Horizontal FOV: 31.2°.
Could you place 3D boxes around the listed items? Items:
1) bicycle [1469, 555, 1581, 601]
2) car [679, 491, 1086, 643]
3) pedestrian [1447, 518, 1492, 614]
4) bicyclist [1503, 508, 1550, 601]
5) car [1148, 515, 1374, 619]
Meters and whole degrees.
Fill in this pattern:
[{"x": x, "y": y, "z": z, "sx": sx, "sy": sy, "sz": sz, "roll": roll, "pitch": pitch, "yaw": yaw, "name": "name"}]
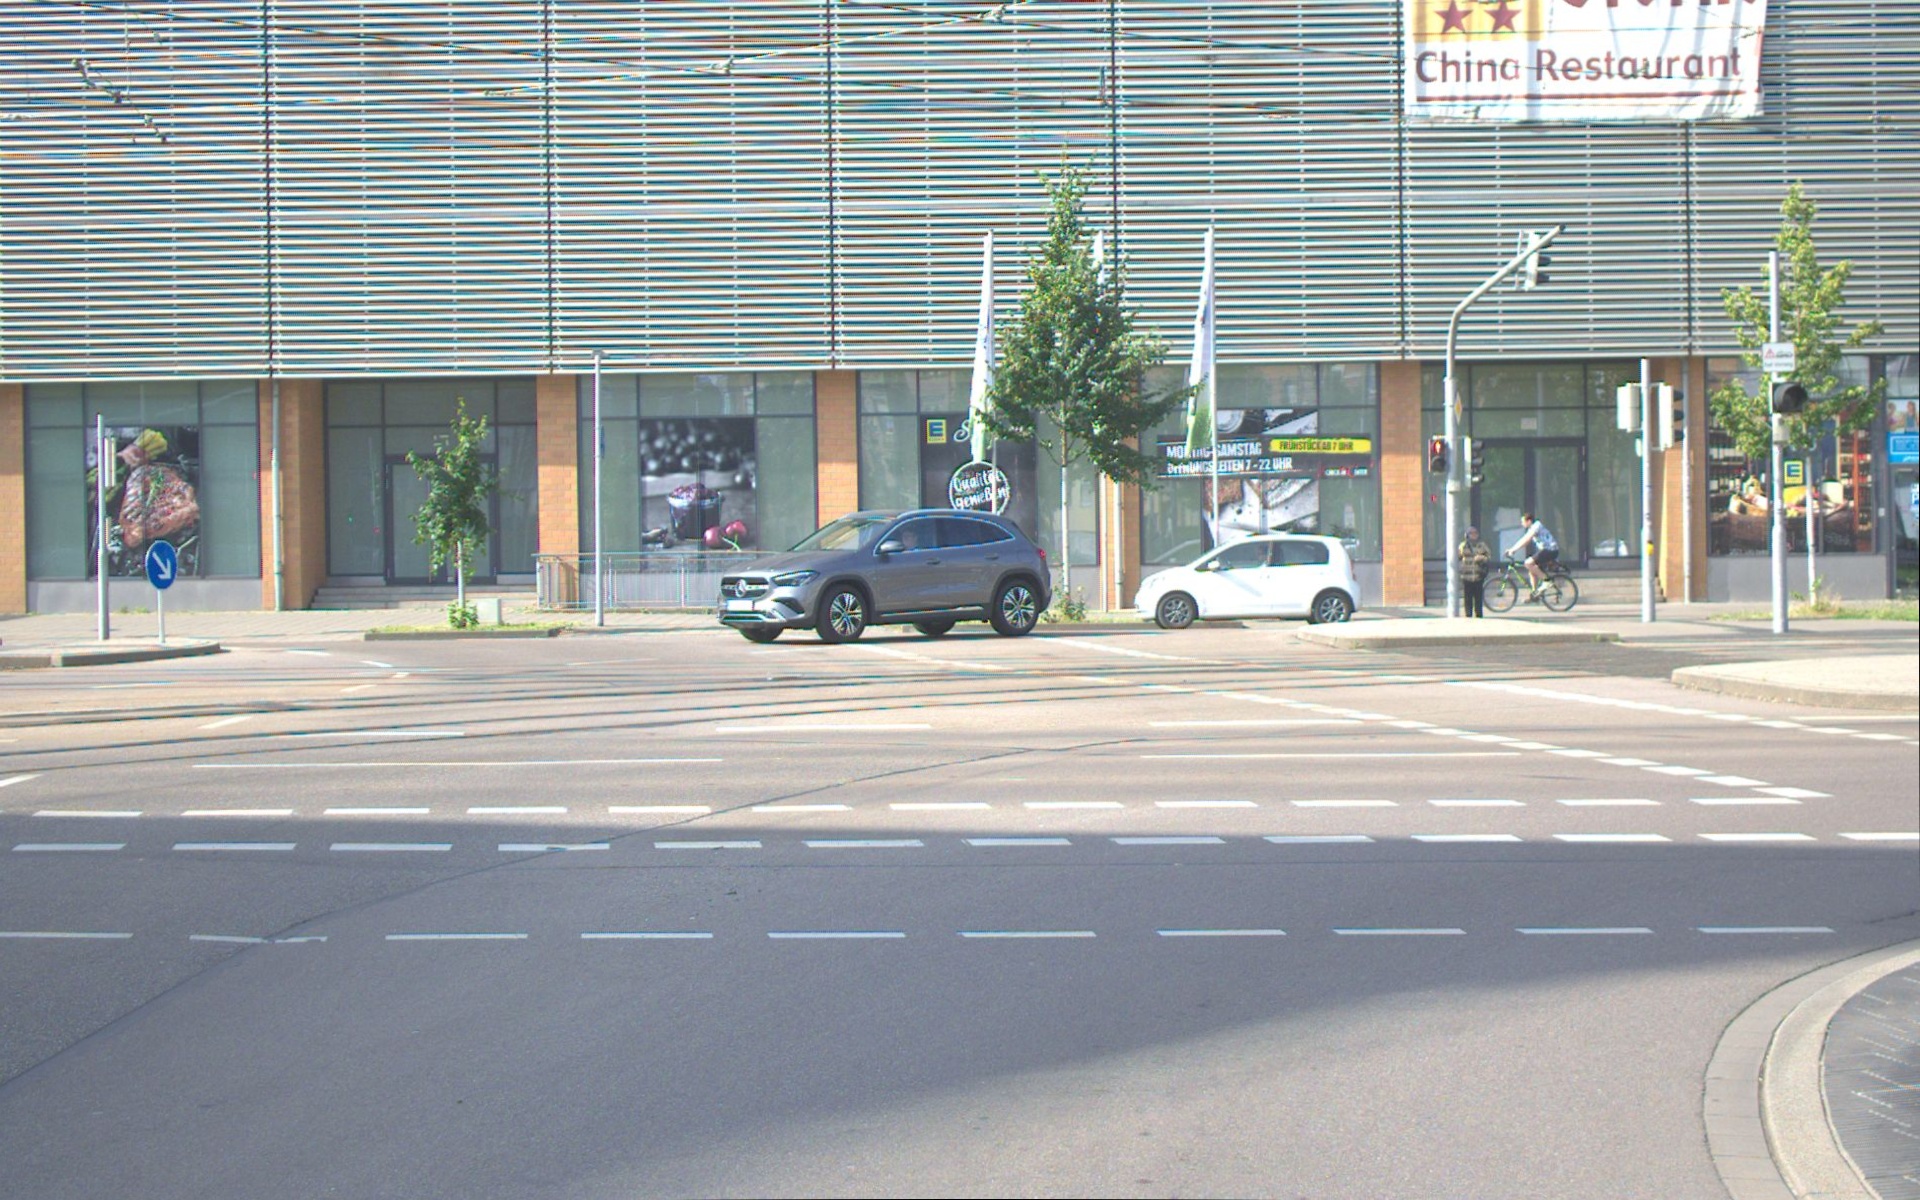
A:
[{"x": 10.006, "y": -0.393, "z": 60.901, "sx": 1.862, "sy": 0.777, "sz": 0.582, "roll": 1, "pitch": 0, "yaw": -2, "name": "bicycle"}, {"x": -0.916, "y": -0.389, "z": 42.441, "sx": 4.800, "sy": 1.777, "sz": 1.955, "roll": 0, "pitch": 1, "yaw": -39, "name": "car"}, {"x": 8.411, "y": -0.561, "z": 56.754, "sx": 0.588, "sy": 1.574, "sz": 0.764, "roll": -1, "pitch": 1, "yaw": -3, "name": "pedestrian"}, {"x": 10.031, "y": -0.803, "z": 60.898, "sx": 0.712, "sy": 1.624, "sz": 0.569, "roll": 1, "pitch": 0, "yaw": 0, "name": "bicyclist"}, {"x": 4.686, "y": -0.519, "z": 53.931, "sx": 3.391, "sy": 1.554, "sz": 1.743, "roll": 1, "pitch": 0, "yaw": 1, "name": "car"}]
